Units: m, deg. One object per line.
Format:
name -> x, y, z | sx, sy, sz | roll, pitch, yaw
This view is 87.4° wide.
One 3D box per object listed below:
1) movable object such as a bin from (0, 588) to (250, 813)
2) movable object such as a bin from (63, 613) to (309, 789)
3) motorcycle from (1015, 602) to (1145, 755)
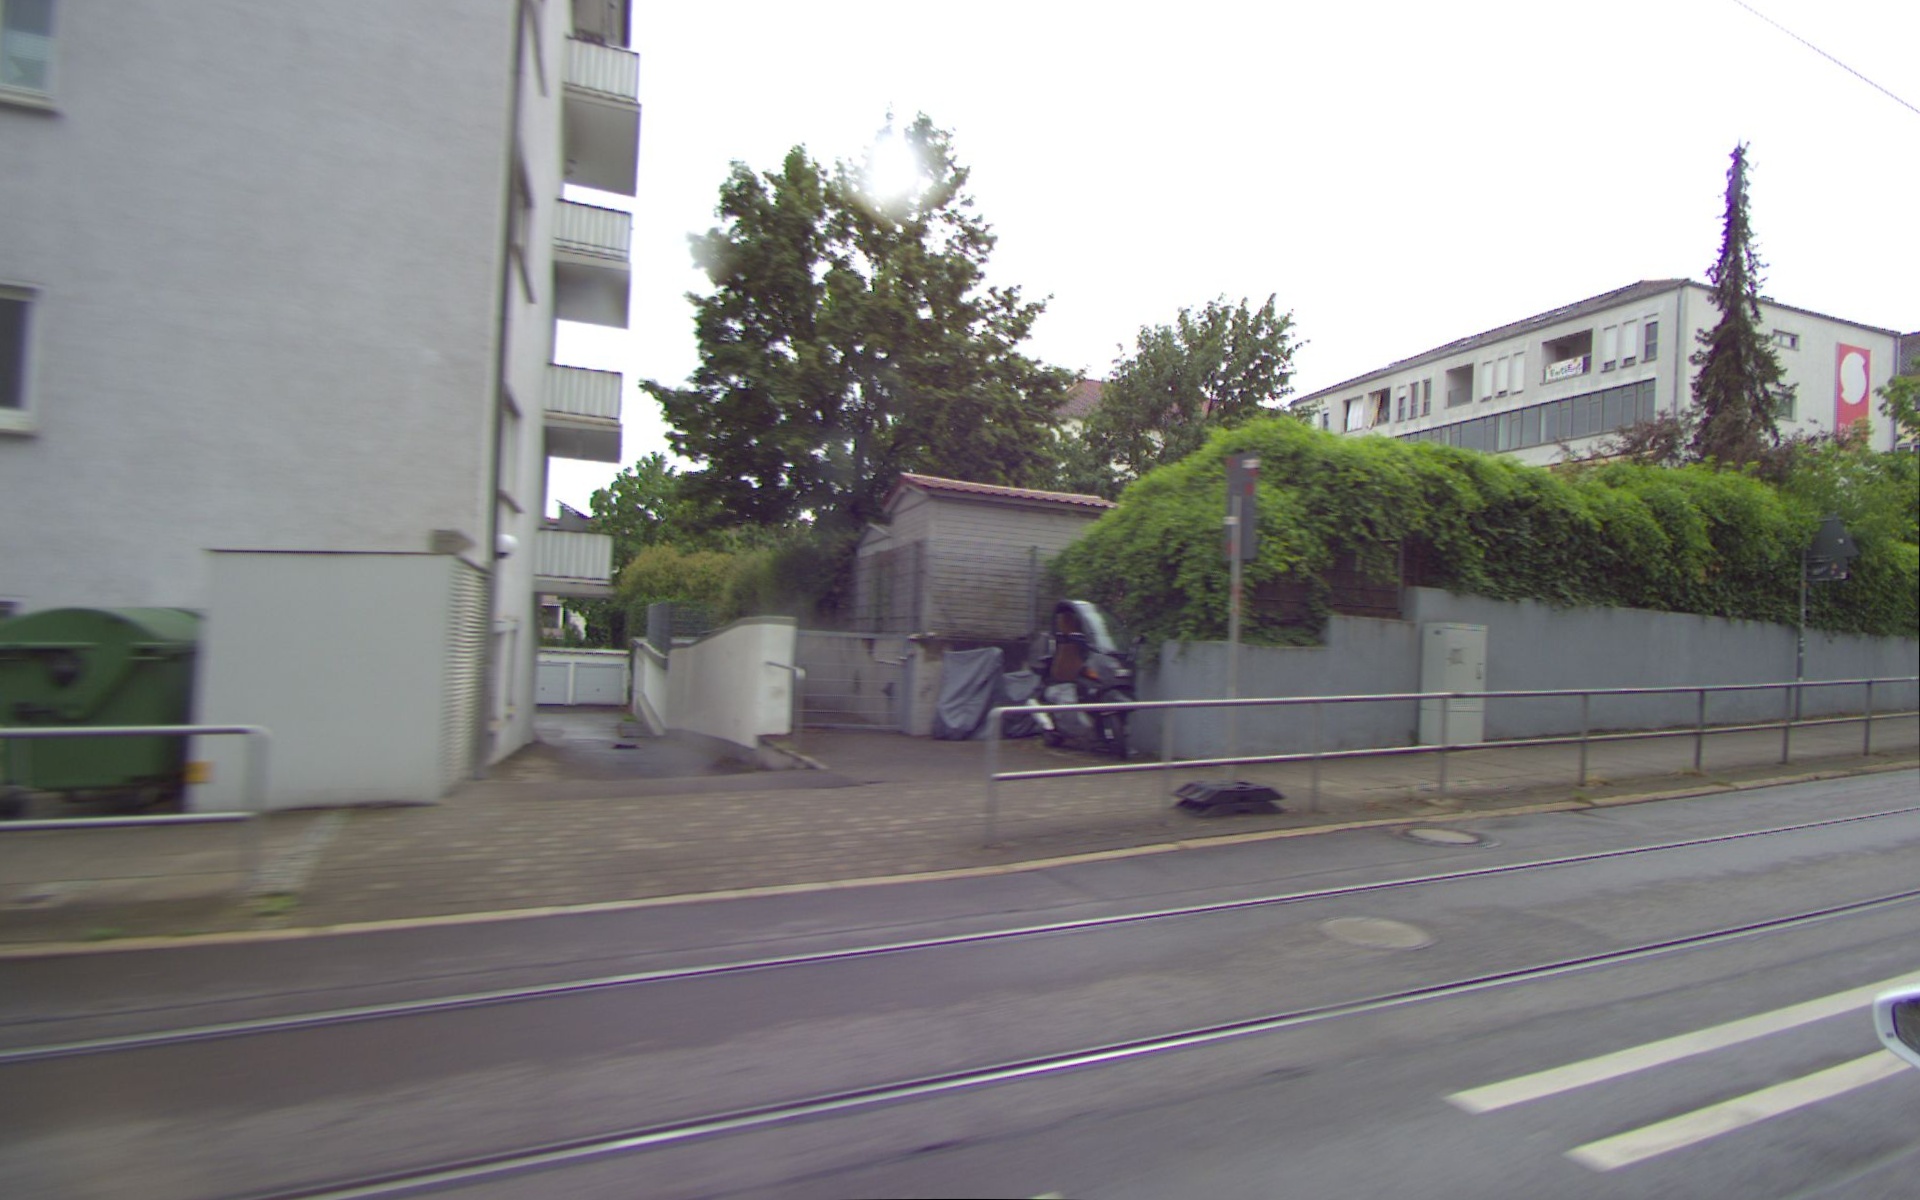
movable object such as a bin -> -6.132, 0.685, 7.315 | 1.270, 1.481, 1.184 | 0, -2, -20
movable object such as a bin -> -6.575, 0.816, 8.676 | 1.305, 1.354, 1.367 | 0, -2, -20
motorcycle -> 1.347, 0.872, 11.699 | 0.588, 1.621, 1.918 | 0, -2, -23
